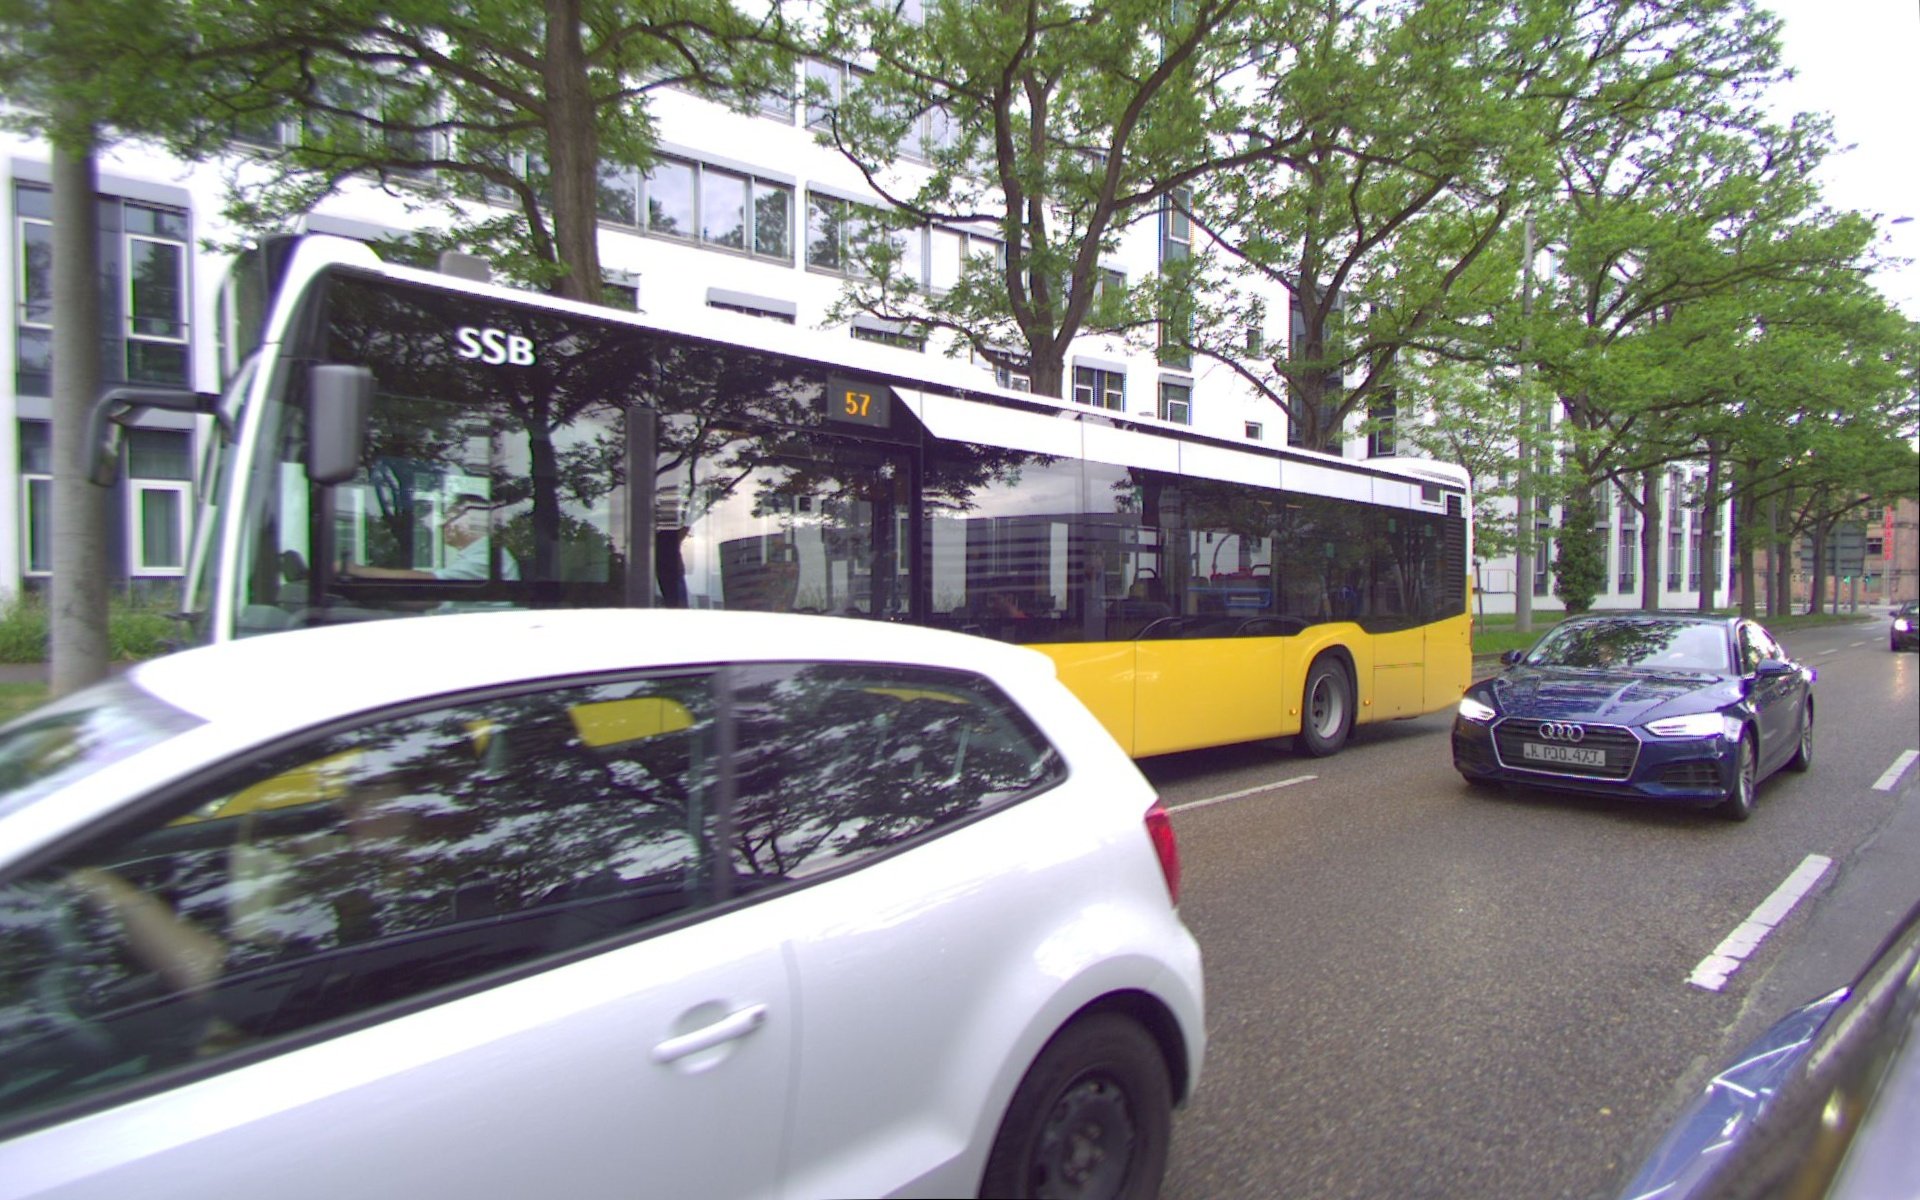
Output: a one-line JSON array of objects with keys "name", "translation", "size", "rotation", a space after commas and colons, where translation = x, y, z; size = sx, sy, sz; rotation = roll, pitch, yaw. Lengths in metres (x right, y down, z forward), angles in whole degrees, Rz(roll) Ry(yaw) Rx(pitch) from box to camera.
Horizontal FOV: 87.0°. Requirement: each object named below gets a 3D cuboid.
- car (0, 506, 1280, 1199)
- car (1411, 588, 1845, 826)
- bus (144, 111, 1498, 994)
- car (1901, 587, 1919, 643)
[{"name": "car", "translation": [-1.274, 0.628, 1.917], "size": [3.742, 1.450, 1.745], "rotation": [-1, 0, -38]}, {"name": "car", "translation": [5.567, 0.634, 8.205], "size": [4.257, 1.371, 1.876], "rotation": [-2, 0, -41]}, {"name": "bus", "translation": [0.746, -0.187, 8.643], "size": [11.934, 3.192, 2.731], "rotation": [0, -1, -41]}, {"name": "car", "translation": [27.210, 0.379, 27.689], "size": [3.487, 1.452, 1.625], "rotation": [-1, 0, -39]}]
